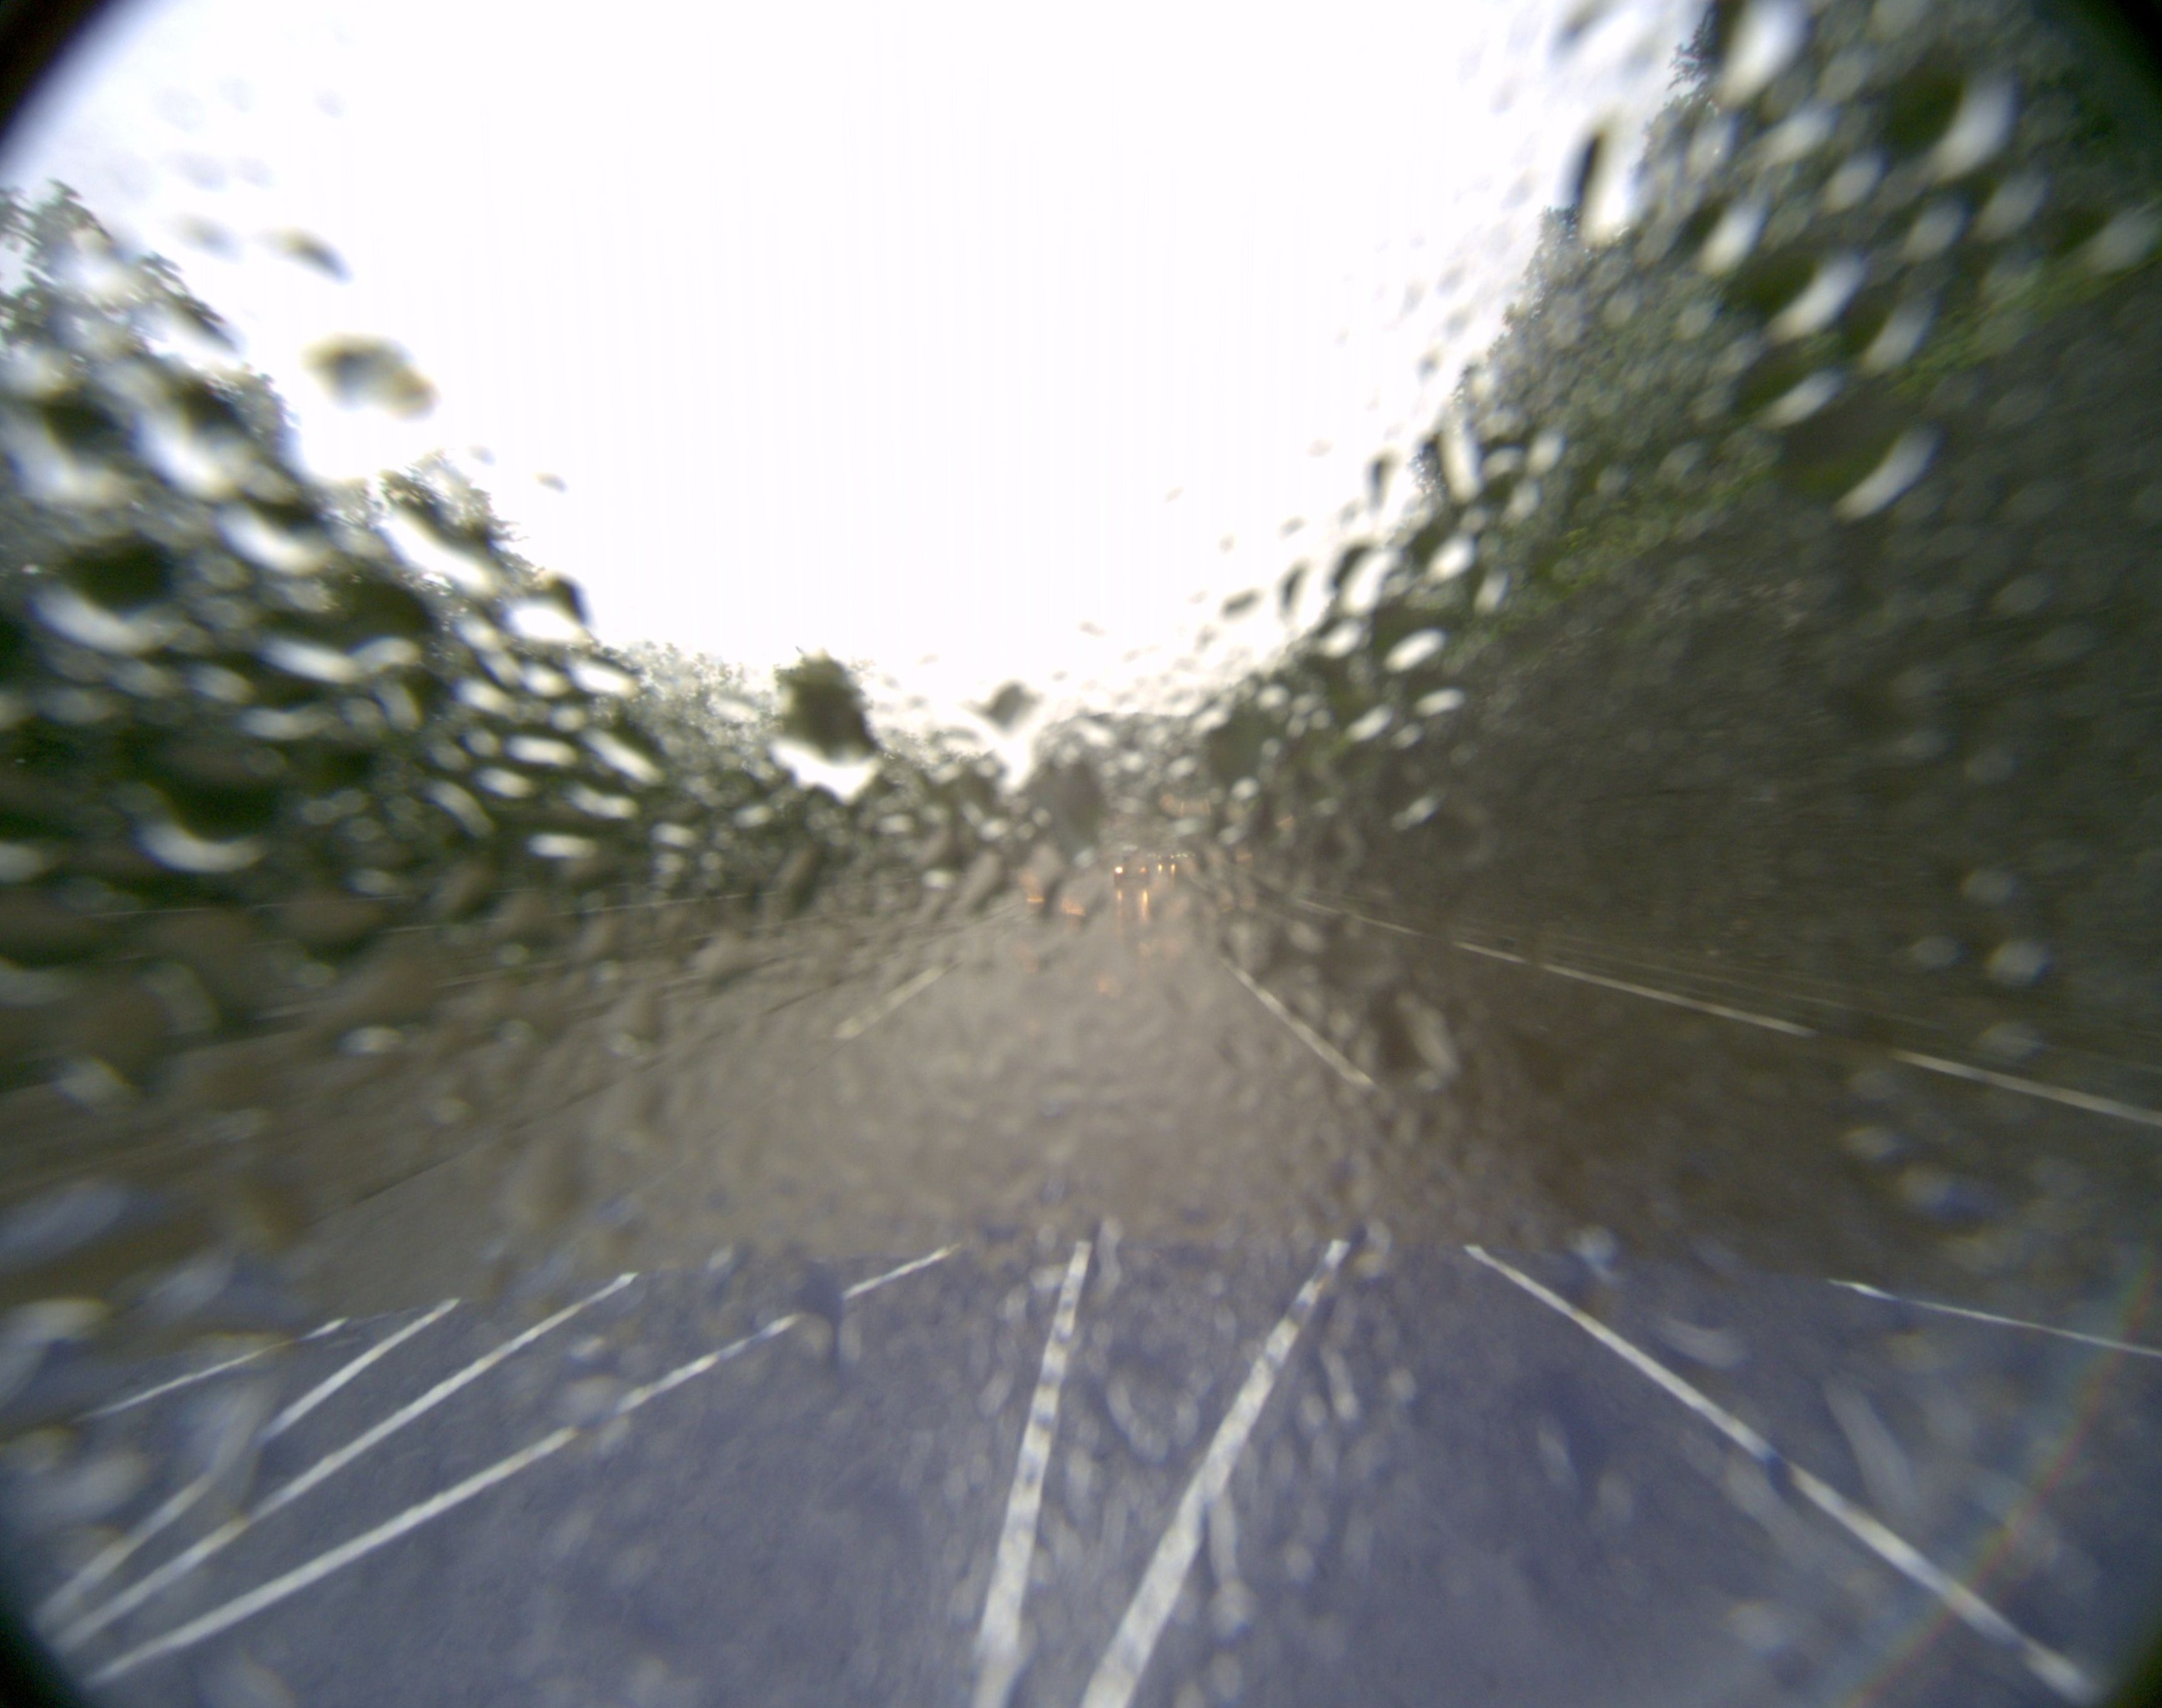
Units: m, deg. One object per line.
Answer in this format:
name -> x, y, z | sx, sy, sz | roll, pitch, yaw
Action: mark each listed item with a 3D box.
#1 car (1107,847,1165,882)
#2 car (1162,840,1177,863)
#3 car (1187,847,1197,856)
car -> 2.894, 0.472, 38.705 | 2.358, 1.549, 5.502 | -2, 1, 10
car -> 11.721, -0.337, 100.464 | 1.741, 3.008, 4.001 | -2, 0, 5
car -> 22.976, -0.508, 156.980 | 1.736, 1.656, 3.869 | -2, 0, 10
